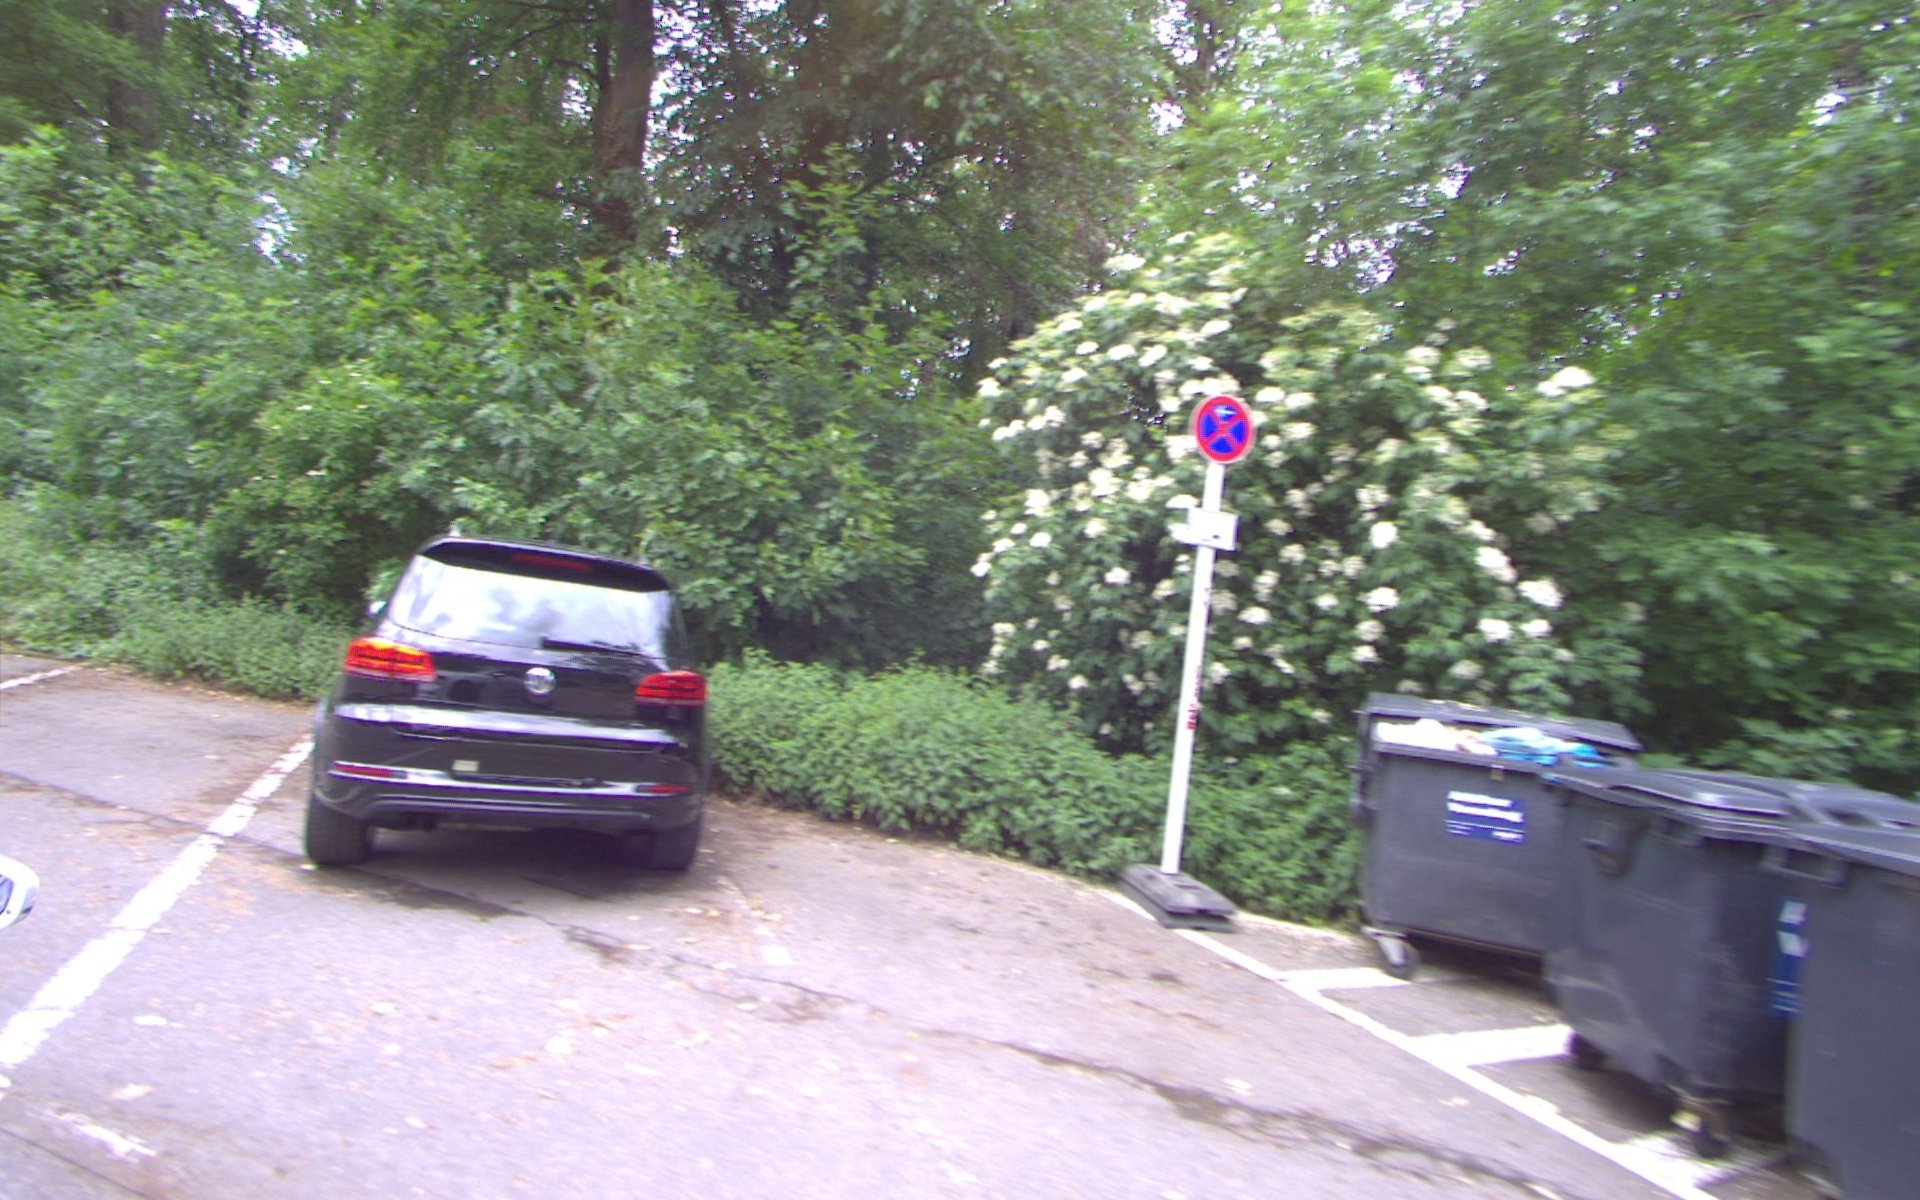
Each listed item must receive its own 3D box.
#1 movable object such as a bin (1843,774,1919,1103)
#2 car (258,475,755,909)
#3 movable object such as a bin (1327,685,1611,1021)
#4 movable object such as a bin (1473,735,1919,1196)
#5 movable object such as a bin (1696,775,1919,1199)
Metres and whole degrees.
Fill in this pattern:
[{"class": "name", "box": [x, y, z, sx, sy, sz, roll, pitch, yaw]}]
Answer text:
[{"class": "movable object such as a bin", "box": [4.683, 1.515, 4.041, 1.216, 1.335, 1.128, 7, -2, 14]}, {"class": "car", "box": [-2.690, 0.430, 6.154, 1.762, 1.704, 4.049, 8, -2, -25]}, {"class": "movable object such as a bin", "box": [2.688, 1.260, 5.488, 1.110, 1.442, 1.127, 7, -2, 22]}, {"class": "movable object such as a bin", "box": [2.951, 1.312, 3.885, 1.165, 1.330, 1.125, 8, -2, -11]}, {"class": "movable object such as a bin", "box": [3.109, 1.286, 2.696, 1.292, 1.322, 1.171, 8, -2, -11]}]
